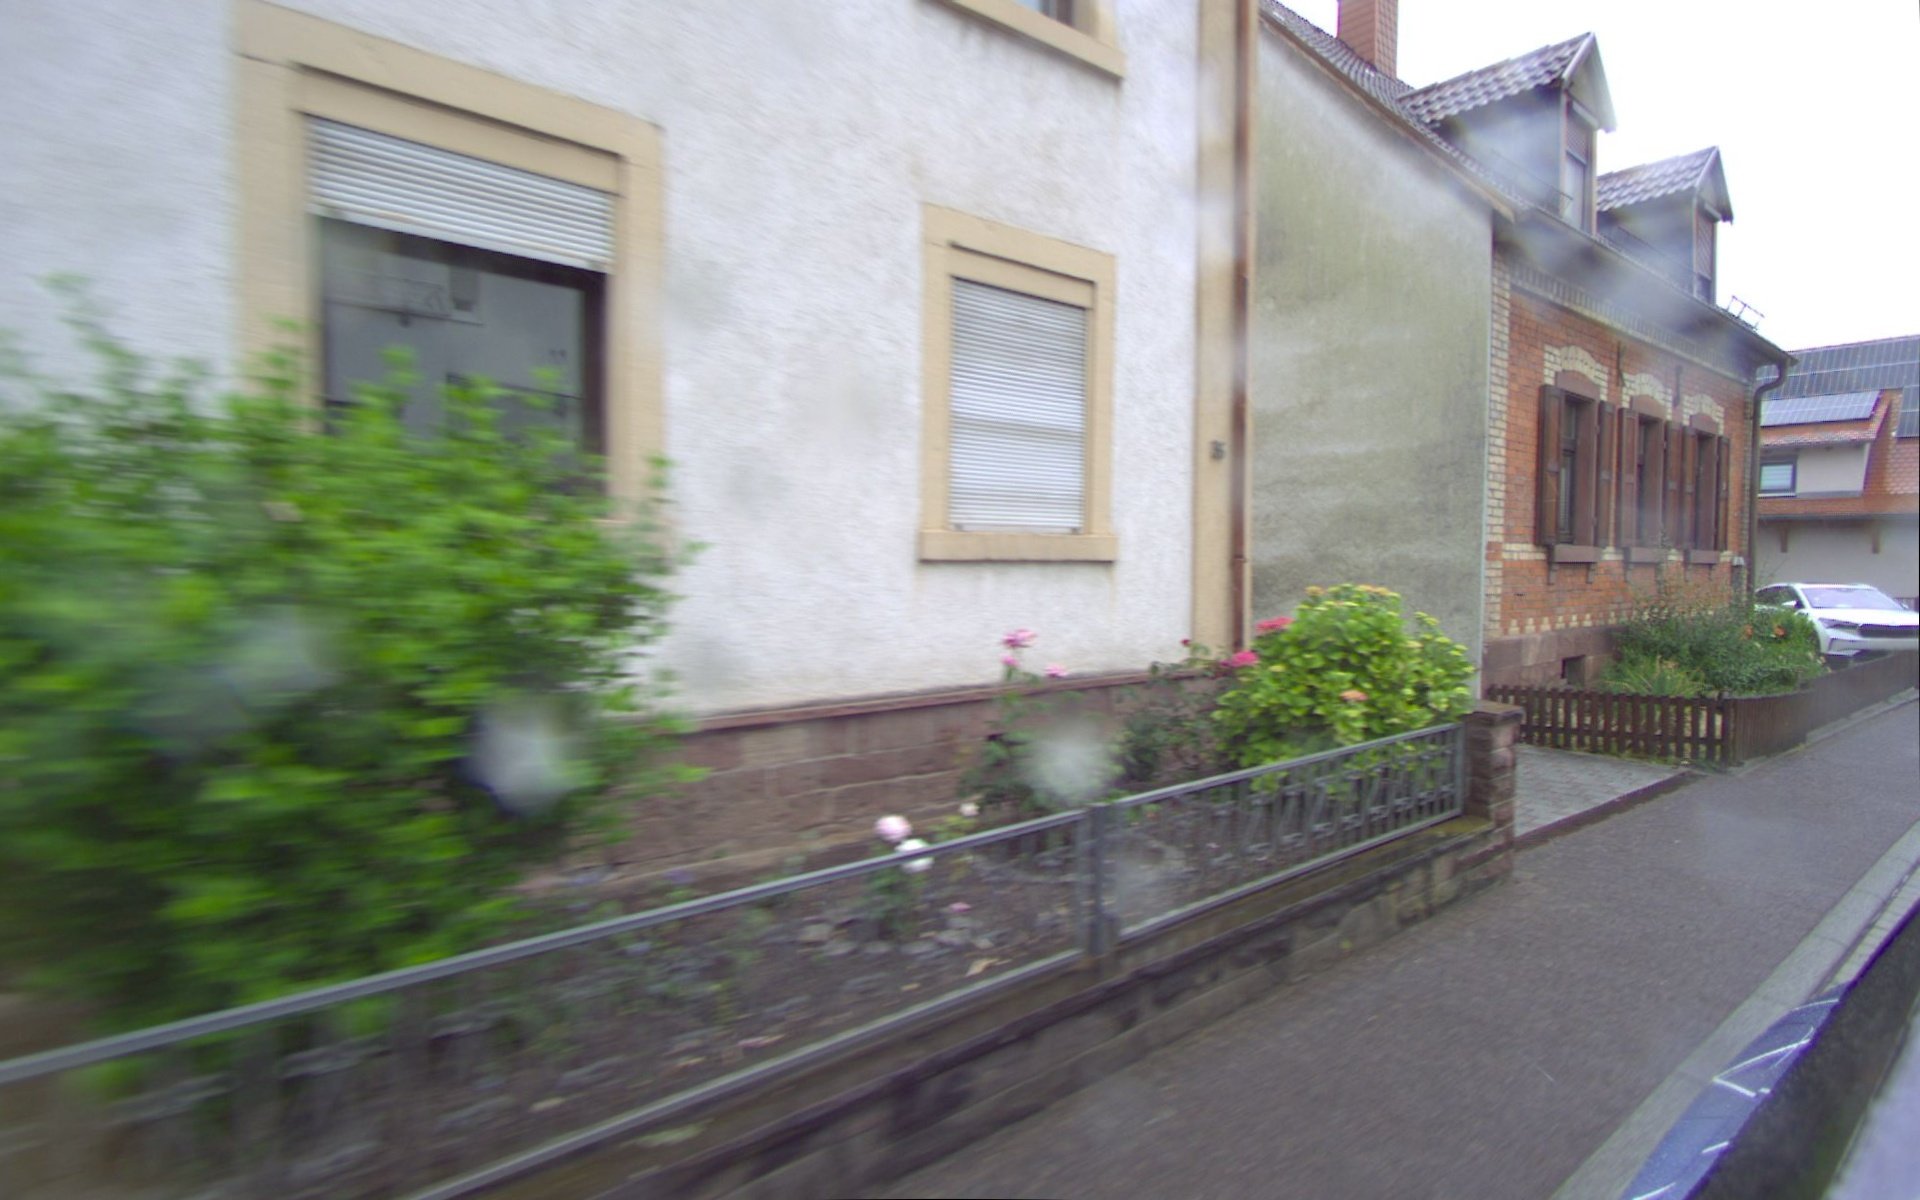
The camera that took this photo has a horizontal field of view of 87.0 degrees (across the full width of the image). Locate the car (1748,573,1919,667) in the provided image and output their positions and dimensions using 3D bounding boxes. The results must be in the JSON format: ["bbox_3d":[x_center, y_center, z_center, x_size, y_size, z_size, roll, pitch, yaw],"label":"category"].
[{"bbox_3d":[16.809,0.318,19.145,1.868,1.595,3.866,-1,0,20],"label":"car"}]
